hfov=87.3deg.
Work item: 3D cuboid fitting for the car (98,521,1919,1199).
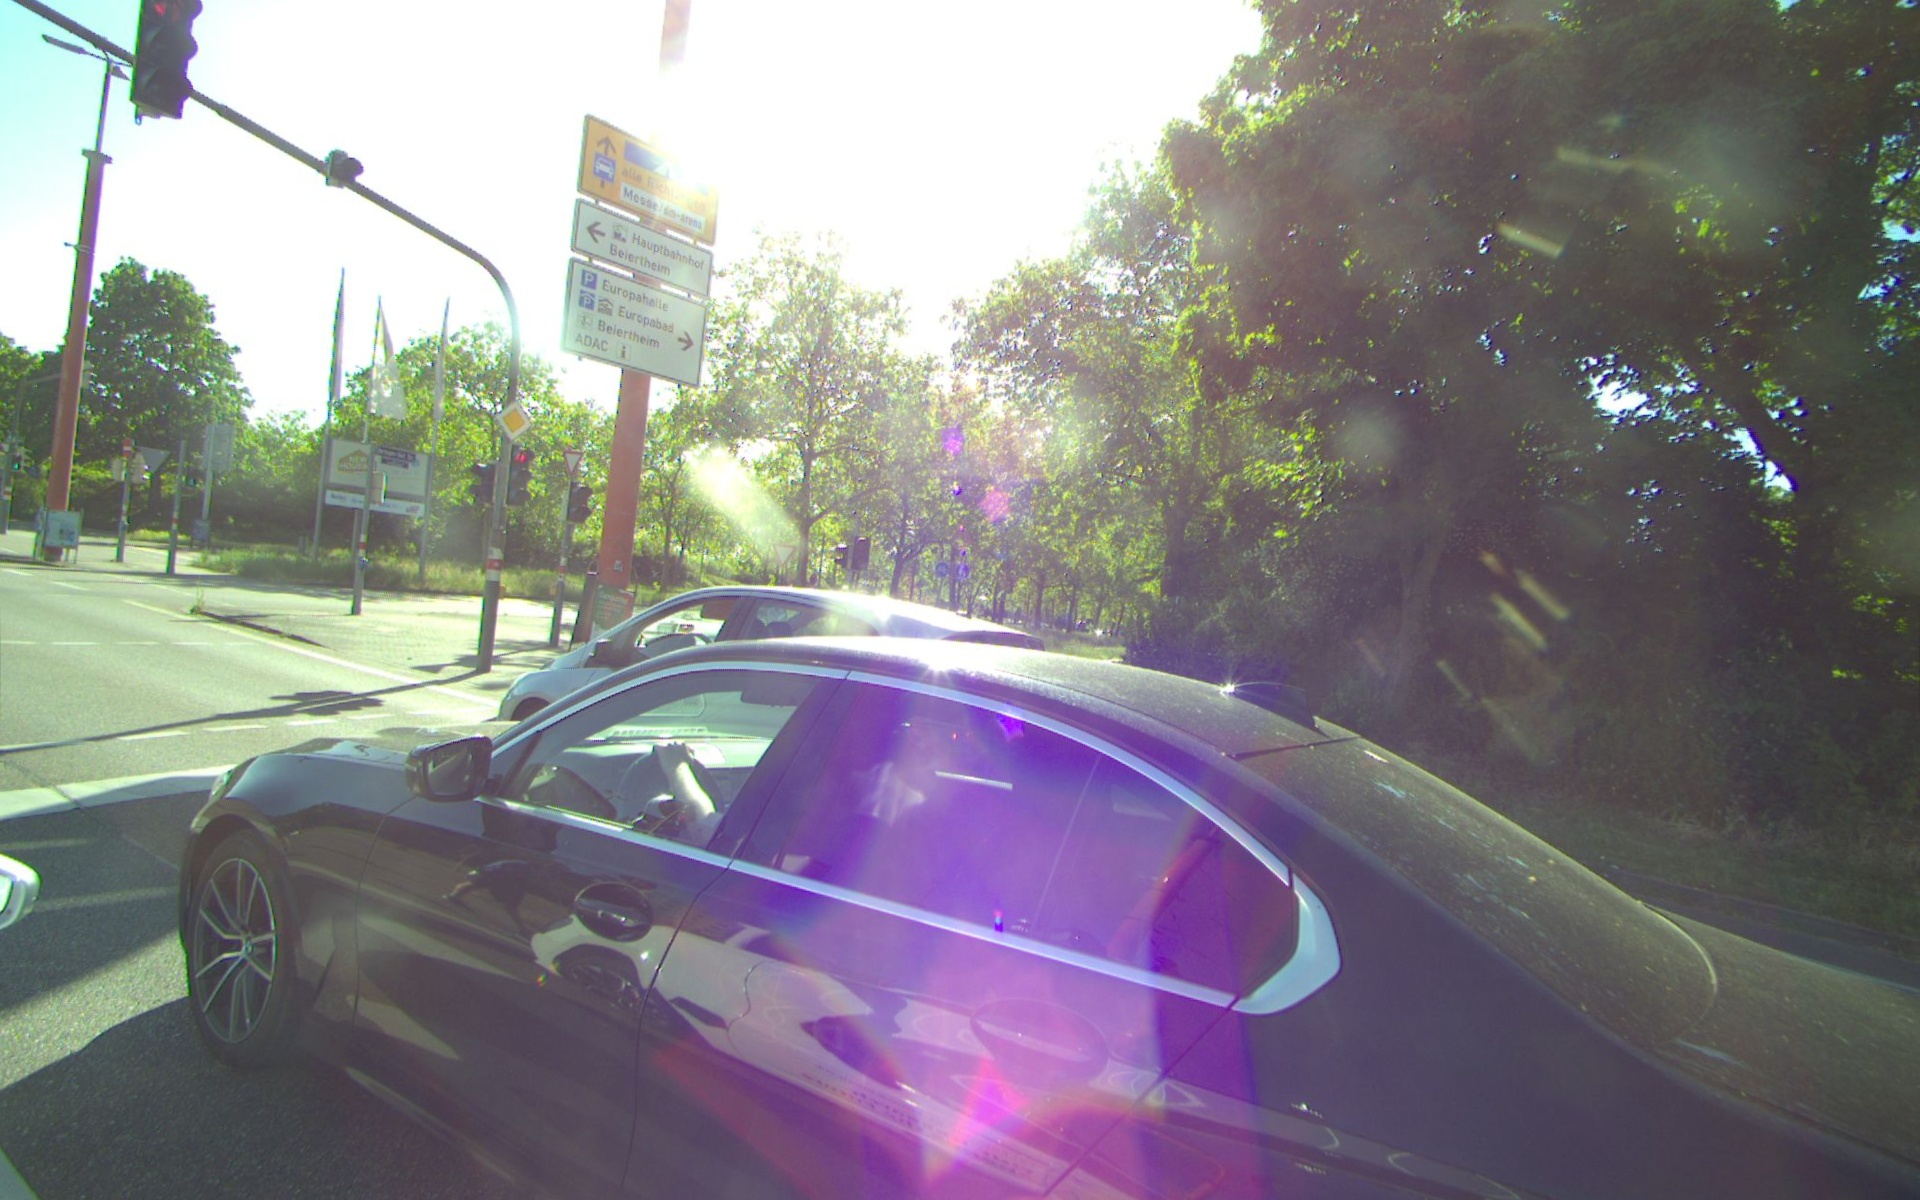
[{"bbox_3d":[-0.245,0.747,2.676,4.371,1.415,1.871,7,0,33],"label":"car"}]

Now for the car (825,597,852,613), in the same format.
[{"bbox_3d":[-13.673,0.593,113.428,1.652,1.485,3.997,7,-1,14],"label":"car"}]

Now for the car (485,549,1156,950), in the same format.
[{"bbox_3d":[-1.010,0.708,6.472,3.963,1.597,1.741,7,0,33],"label":"car"}]
